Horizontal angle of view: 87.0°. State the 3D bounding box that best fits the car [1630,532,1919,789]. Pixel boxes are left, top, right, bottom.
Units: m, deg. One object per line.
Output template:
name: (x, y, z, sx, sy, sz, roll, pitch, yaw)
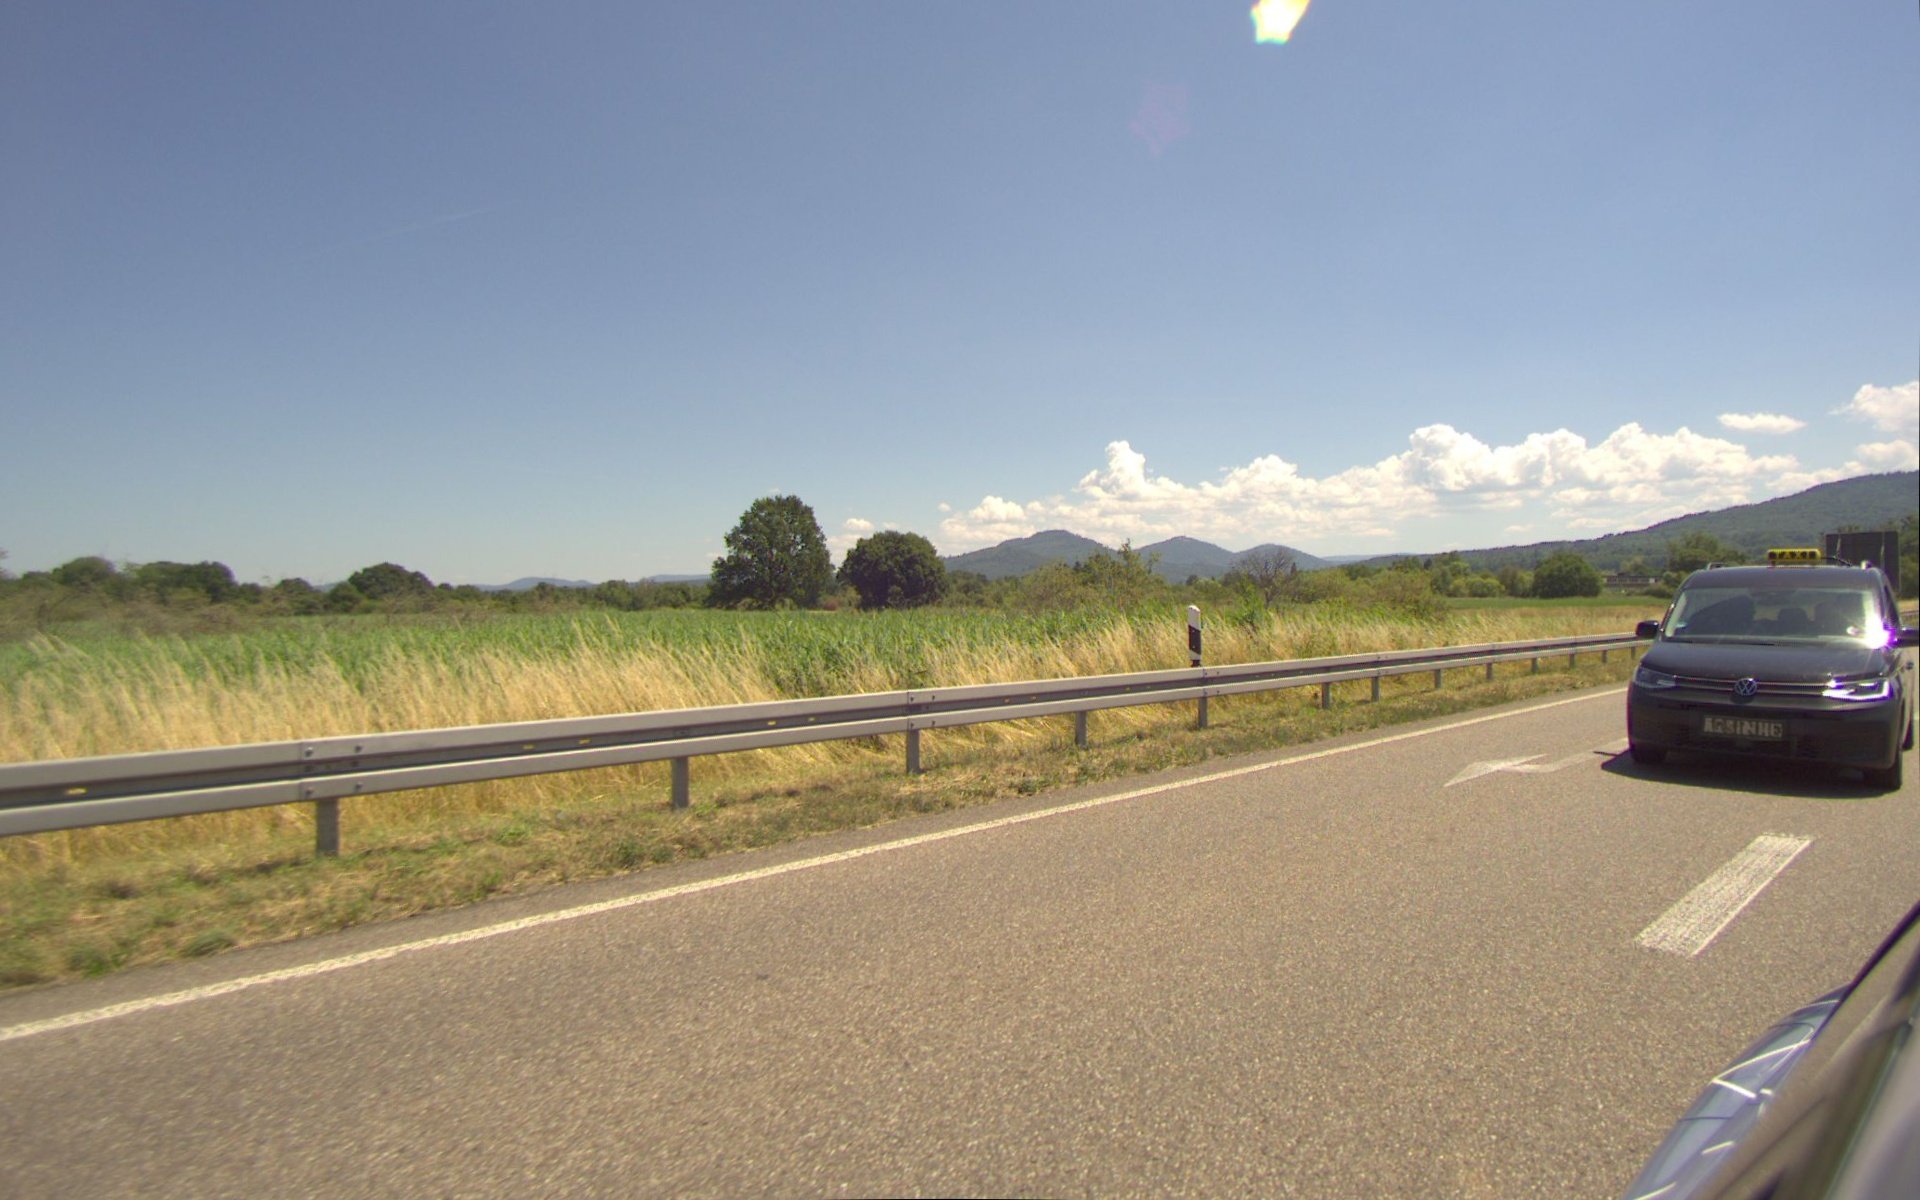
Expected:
car: (7.687, 0.412, 9.342, 1.780, 1.840, 4.146, 0, 0, 44)
